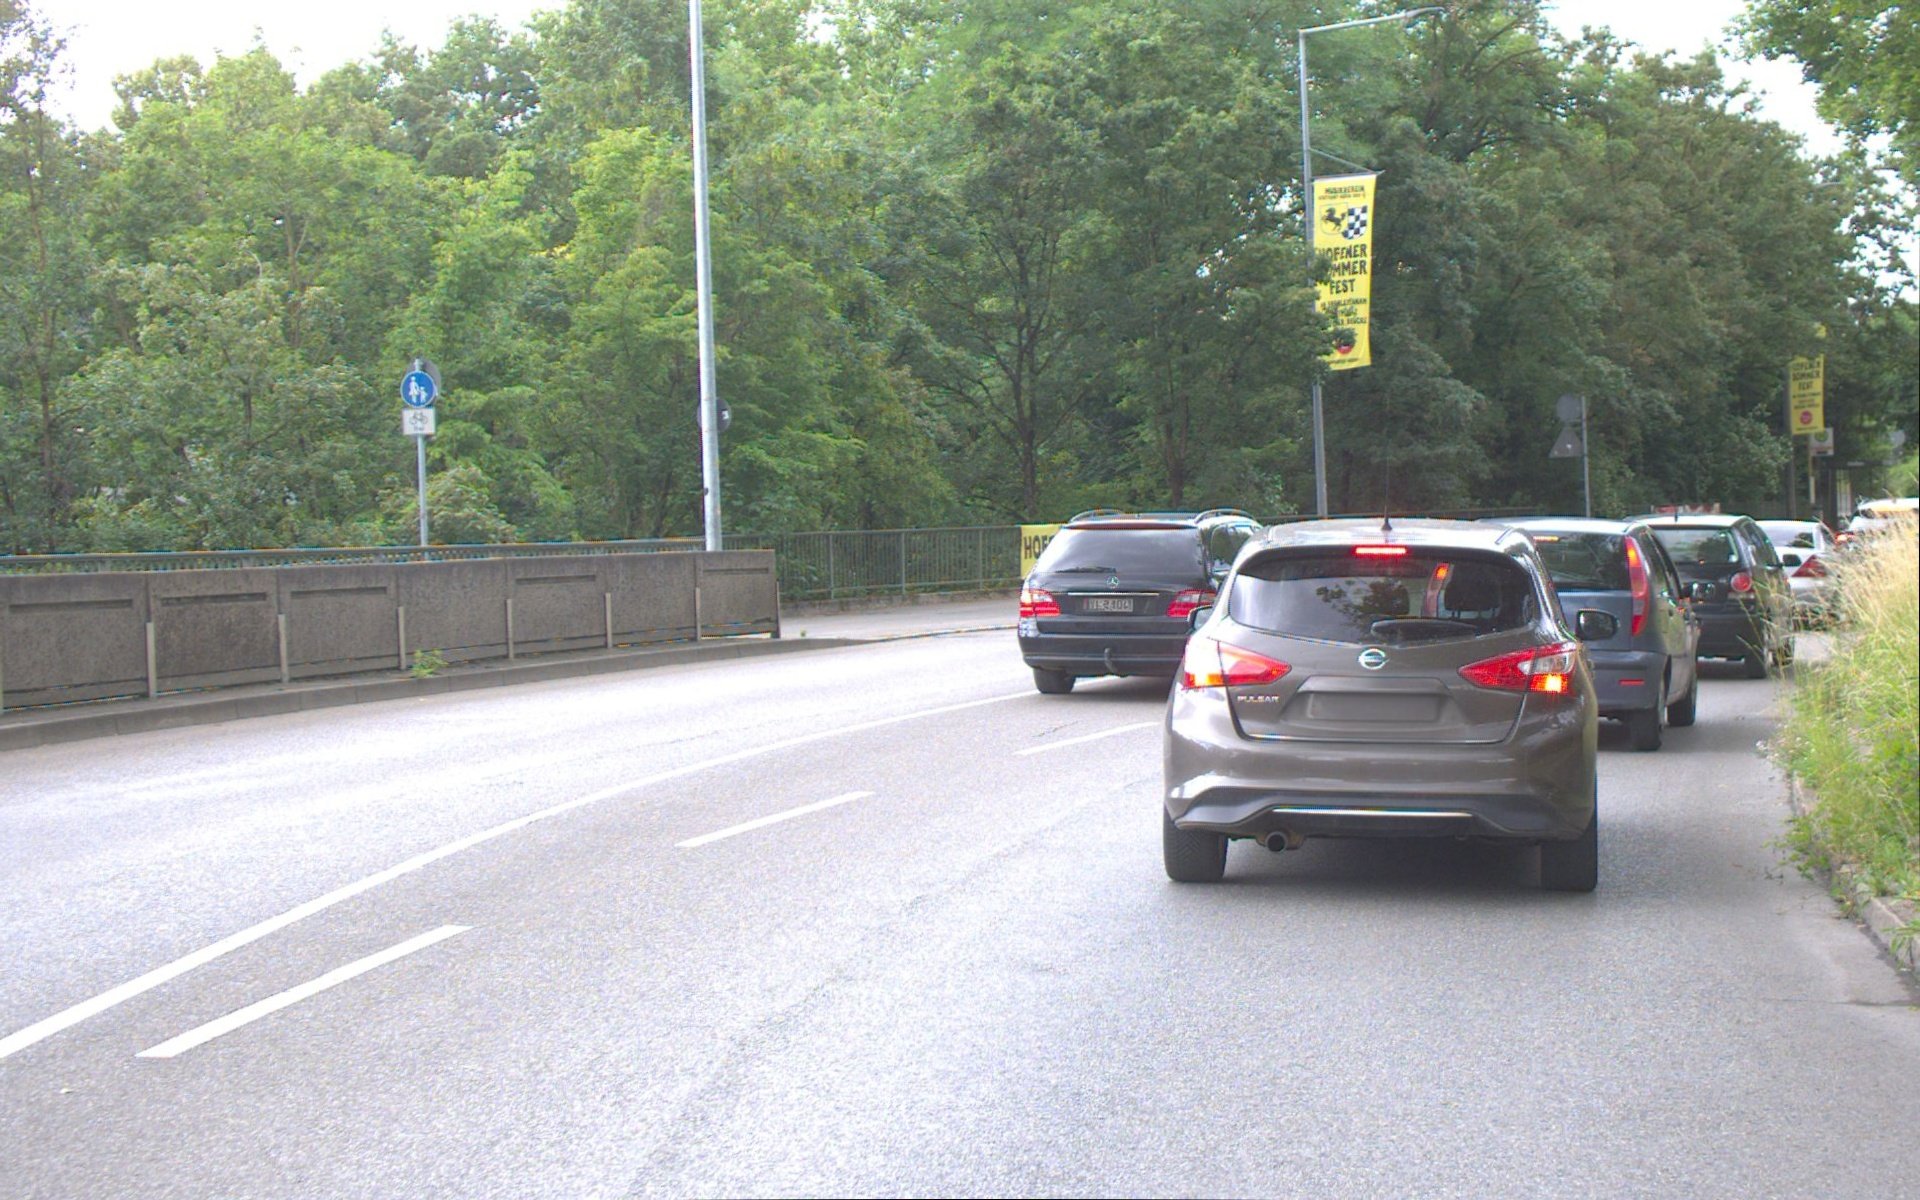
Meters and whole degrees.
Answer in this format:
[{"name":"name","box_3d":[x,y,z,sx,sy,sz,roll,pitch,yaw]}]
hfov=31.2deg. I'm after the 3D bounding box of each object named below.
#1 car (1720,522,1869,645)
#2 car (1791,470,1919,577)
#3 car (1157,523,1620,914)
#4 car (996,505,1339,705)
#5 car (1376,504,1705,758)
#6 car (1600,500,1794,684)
[{"name":"car","box_3d":[10.018,-0.220,41.140,1.501,1.359,3.584,-2,1,17]},{"name":"car","box_3d":[13.609,-1.141,51.645,1.806,1.535,3.996,1,1,19]},{"name":"car","box_3d":[1.993,0.432,15.360,1.775,1.489,3.998,1,1,10]},{"name":"car","box_3d":[1.801,-0.001,28.366,1.853,1.481,4.417,1,1,16]},{"name":"car","box_3d":[4.035,0.175,23.397,1.894,1.568,3.997,0,1,14]},{"name":"car","box_3d":[6.763,-0.095,31.304,1.579,1.533,3.998,-2,1,14]}]
